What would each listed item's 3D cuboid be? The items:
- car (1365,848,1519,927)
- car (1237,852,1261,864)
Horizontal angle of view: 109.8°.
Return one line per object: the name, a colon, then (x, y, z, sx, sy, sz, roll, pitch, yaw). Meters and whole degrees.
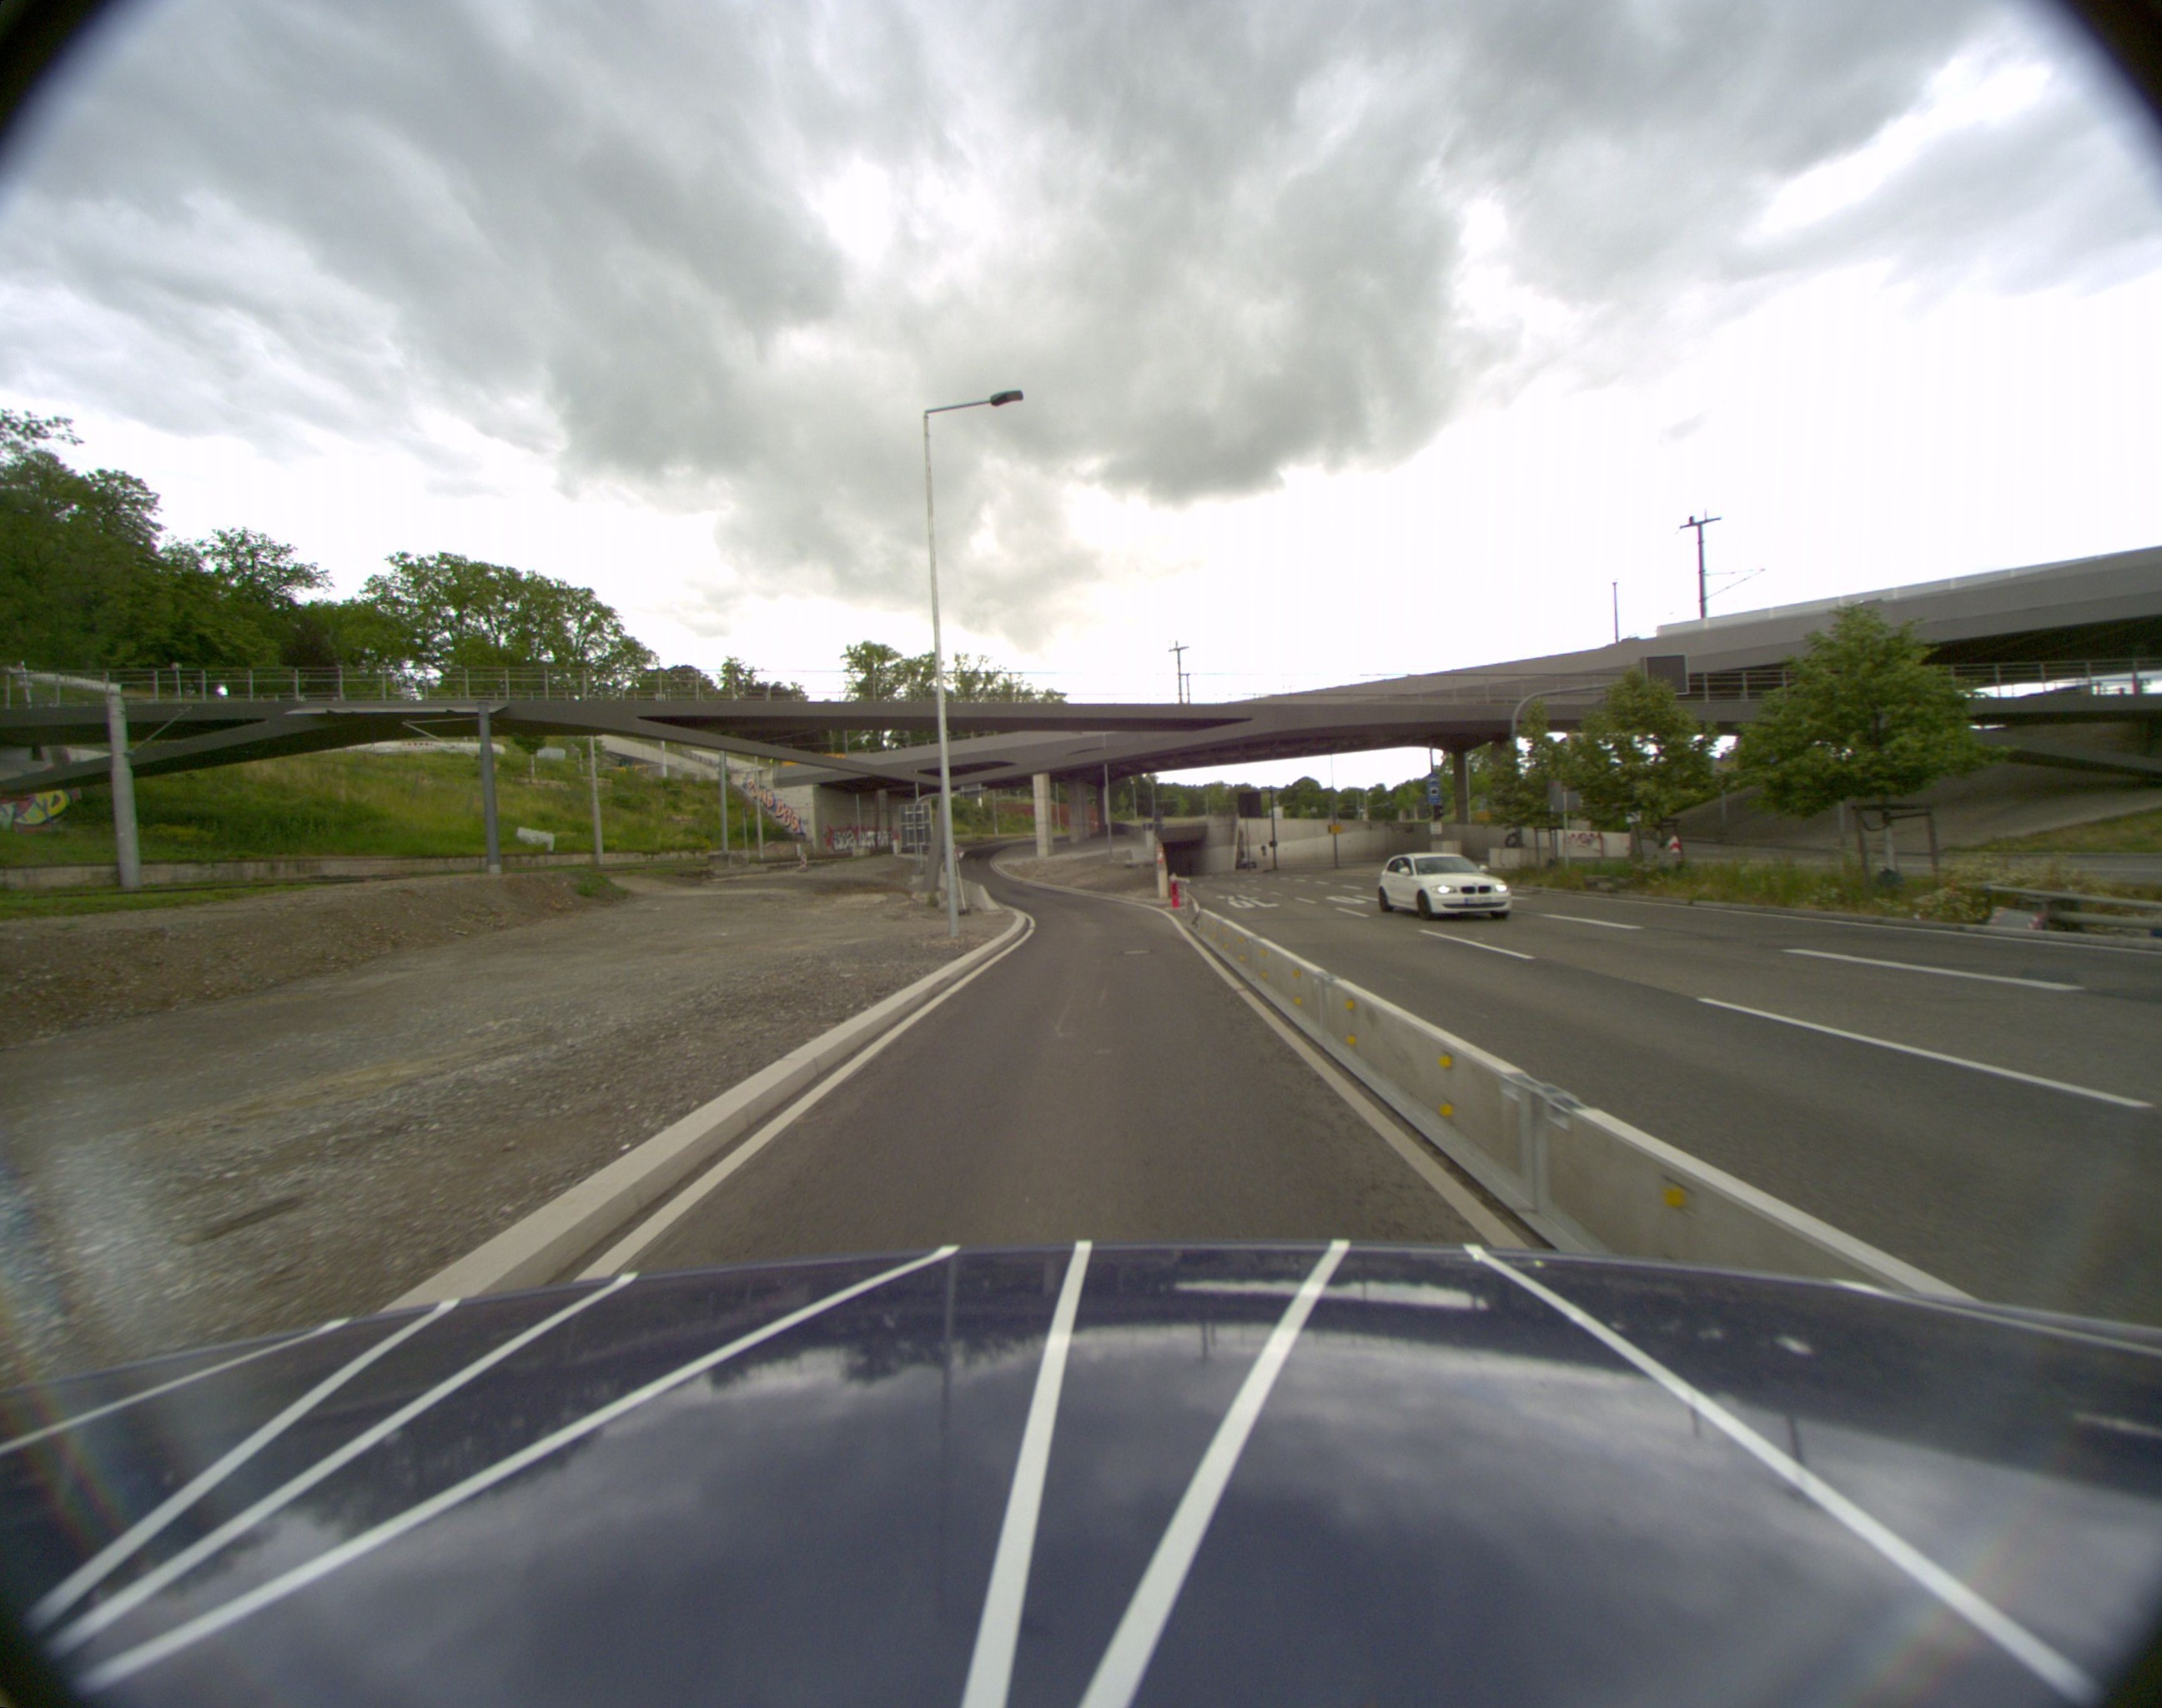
car: (8.046, 0.664, 17.371, 1.642, 1.425, 3.982, -5, 1, 2)
car: (21.695, 0.517, 98.407, 1.794, 1.469, 4.614, -3, 0, -3)
